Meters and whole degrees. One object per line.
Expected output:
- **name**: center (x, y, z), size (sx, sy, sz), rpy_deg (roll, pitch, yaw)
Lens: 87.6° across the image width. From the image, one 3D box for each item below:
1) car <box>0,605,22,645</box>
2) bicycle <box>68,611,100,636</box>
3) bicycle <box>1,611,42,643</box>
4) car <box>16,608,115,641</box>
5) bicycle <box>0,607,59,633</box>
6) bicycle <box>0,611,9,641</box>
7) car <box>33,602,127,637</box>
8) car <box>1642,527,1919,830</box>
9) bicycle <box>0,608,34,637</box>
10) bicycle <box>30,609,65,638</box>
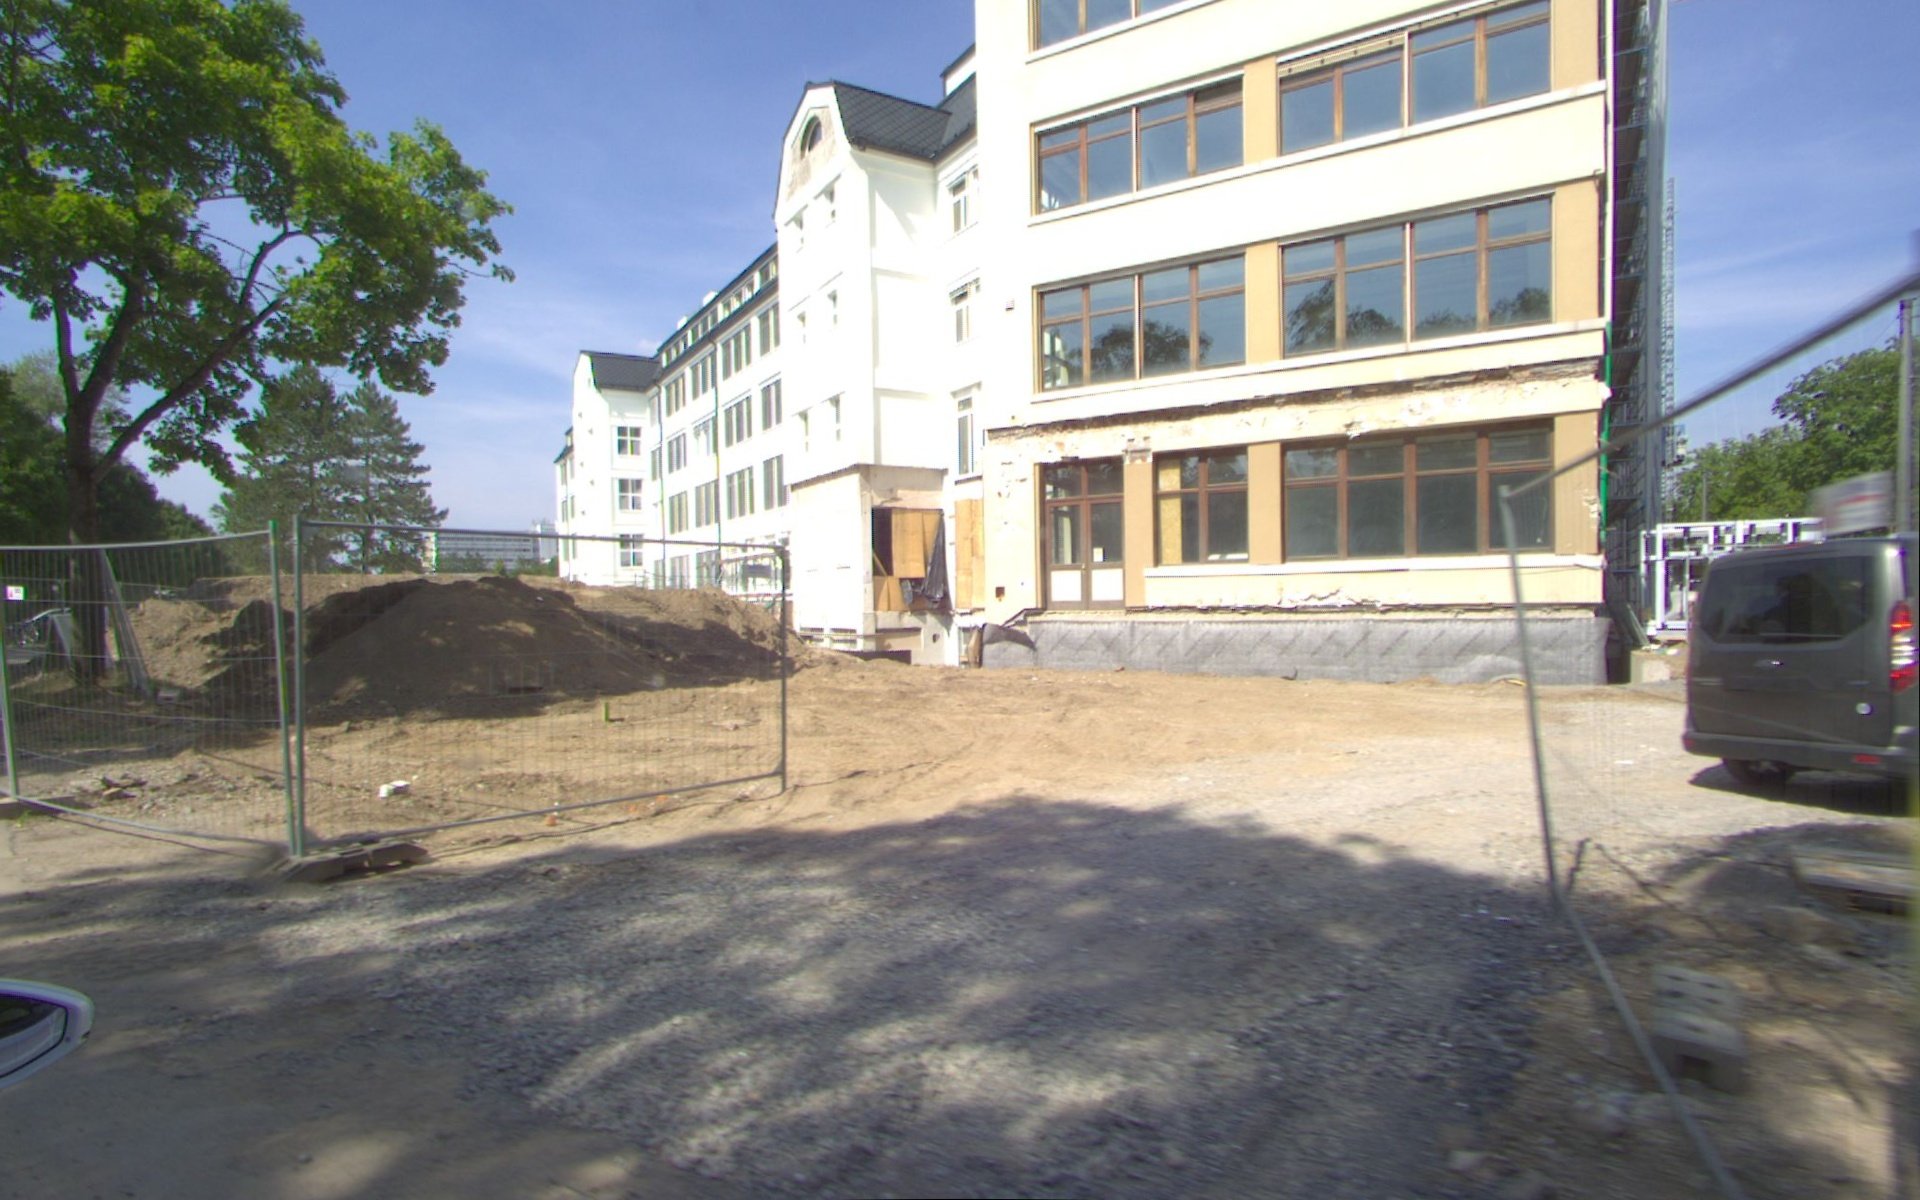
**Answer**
- **car**: center (-39.788, 1.008, 39.165), size (4.243, 1.544, 1.880), rpy_deg (-1, 0, -34)
- **bicycle**: center (-46.860, 1.224, 53.573), size (0.807, 1.301, 2.730), rpy_deg (-1, 0, -32)
- **bicycle**: center (-40.105, 1.136, 42.820), size (0.706, 1.301, 2.668), rpy_deg (-1, 0, -32)
- **car**: center (-51.701, 1.370, 57.992), size (3.941, 1.795, 1.758), rpy_deg (0, 1, -29)
- **bicycle**: center (-48.258, 1.002, 51.577), size (2.652, 1.301, 0.812), rpy_deg (0, 1, -38)
- **bicycle**: center (-41.916, 1.148, 43.210), size (0.706, 1.301, 2.775), rpy_deg (-1, 0, -32)
- **car**: center (-53.158, 1.156, 60.596), size (3.941, 2.041, 1.758), rpy_deg (0, 1, -29)
- **car**: center (7.621, 0.460, 7.276), size (4.231, 1.803, 1.921), rpy_deg (-1, -1, -10)
- **bicycle**: center (-44.561, 1.038, 47.211), size (0.807, 1.301, 2.668), rpy_deg (-1, 0, -32)
- **bicycle**: center (-42.714, 1.071, 46.920), size (0.706, 1.301, 2.622), rpy_deg (-1, 0, -32)
